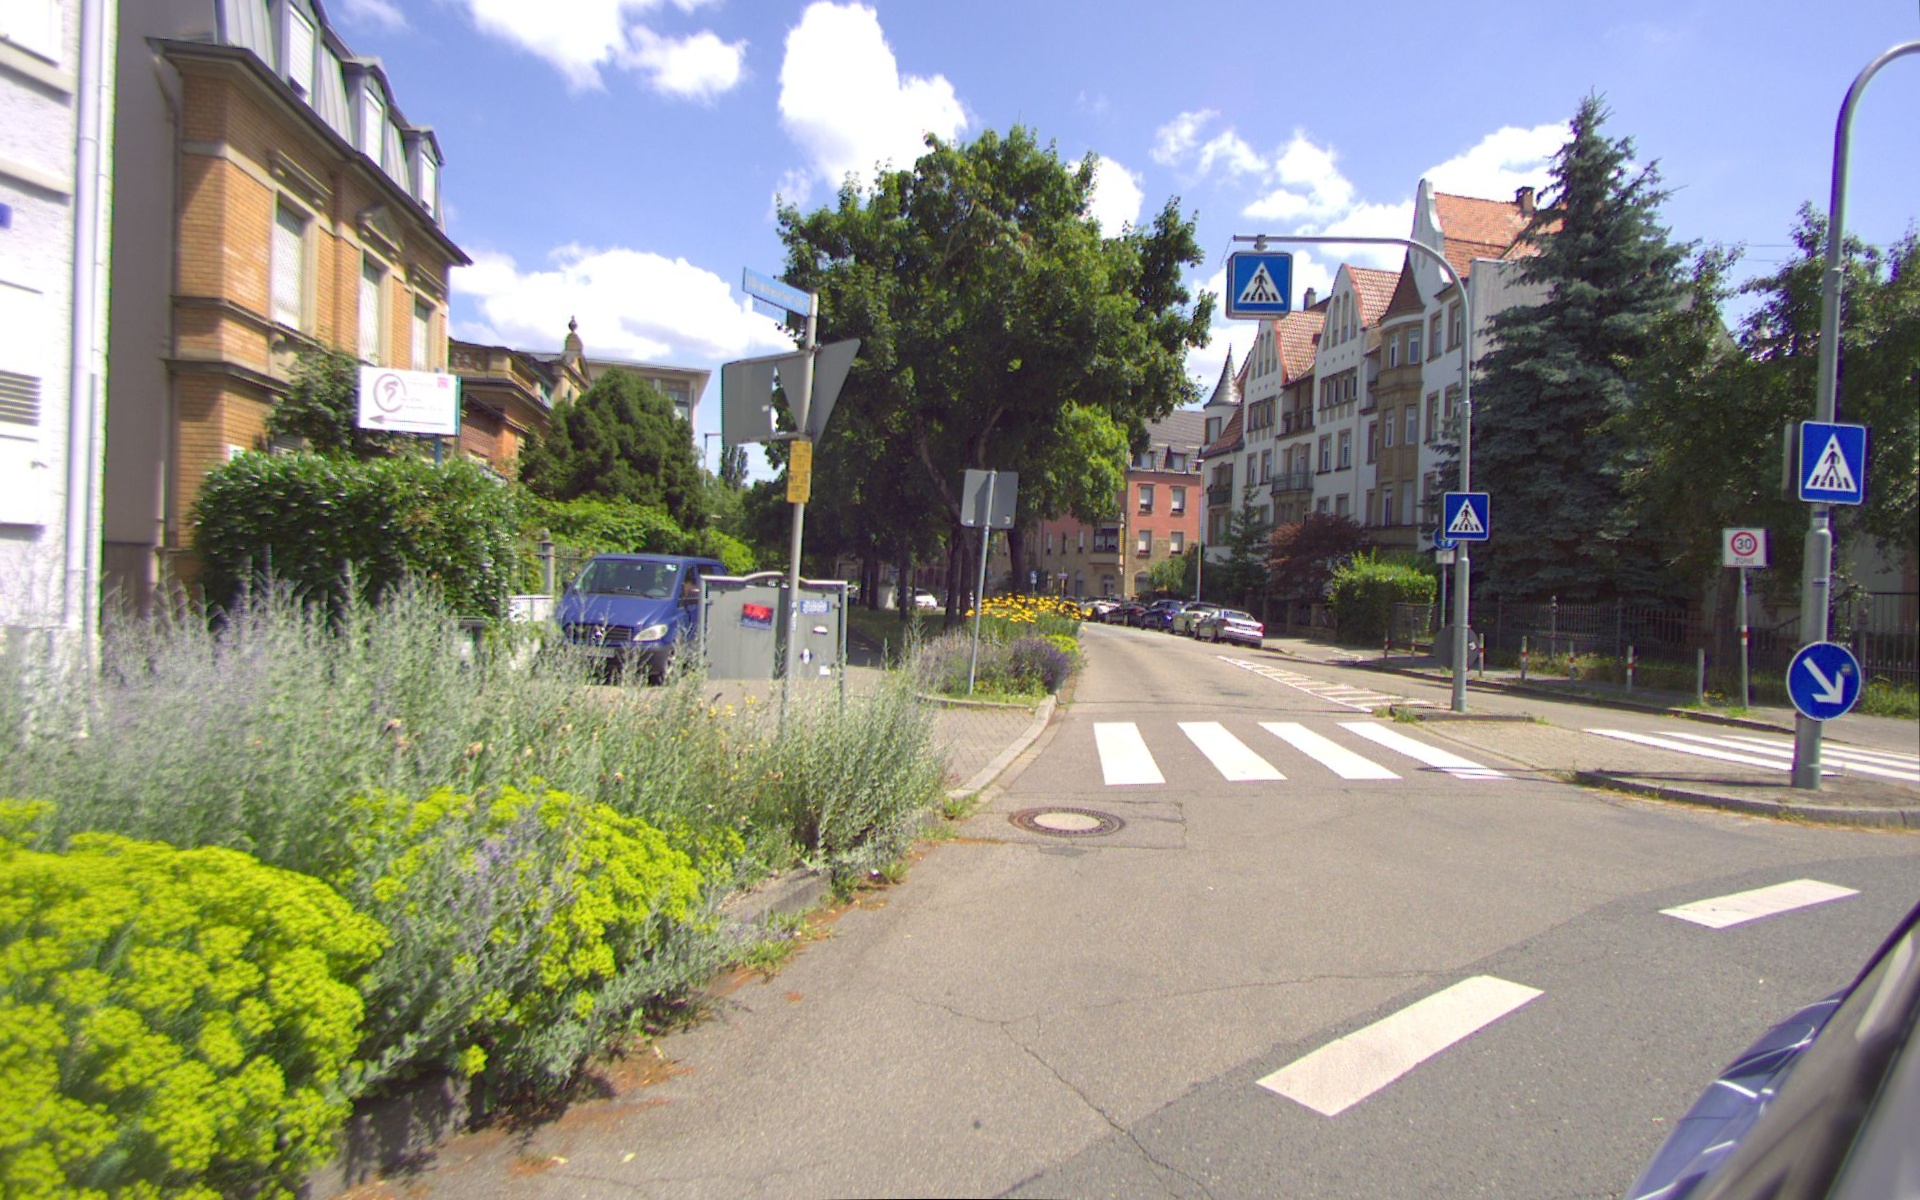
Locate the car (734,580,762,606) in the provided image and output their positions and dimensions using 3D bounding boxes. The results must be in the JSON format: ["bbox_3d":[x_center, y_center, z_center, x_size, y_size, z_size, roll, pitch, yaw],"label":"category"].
[{"bbox_3d":[-15.183,-0.543,72.514,1.801,1.756,4.007,2,0,-10],"label":"car"}]

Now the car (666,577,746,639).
[{"bbox_3d":[-7.070,0.167,28.482,1.802,1.577,4.007,2,1,-9],"label":"car"}]

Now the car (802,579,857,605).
[{"bbox_3d":[-10.331,-0.665,80.391,3.935,1.883,1.920,2,1,9],"label":"car"}]

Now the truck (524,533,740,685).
[{"bbox_3d":[-5.008,0.099,16.342,1.879,1.950,5.284,3,0,-2],"label":"truck"}]

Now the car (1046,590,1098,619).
[{"bbox_3d":[6.921,0.270,62.738,1.737,1.407,3.885,7,1,-15],"label":"car"}]

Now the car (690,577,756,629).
[{"bbox_3d":[-7.764,0.051,33.503,1.802,1.577,4.007,2,1,-9],"label":"car"}]

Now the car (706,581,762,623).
[{"bbox_3d":[-8.600,0.035,38.723,1.802,1.475,4.007,2,1,-9],"label":"car"}]

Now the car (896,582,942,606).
[{"bbox_3d":[-3.146,-0.482,76.926,1.958,1.638,4.193,1,1,-25],"label":"car"}]

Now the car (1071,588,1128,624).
[{"bbox_3d":[7.981,0.320,58.202,1.738,1.633,3.885,7,1,-14],"label":"car"}]

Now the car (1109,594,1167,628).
[{"bbox_3d":[9.222,0.554,52.667,1.739,1.405,4.006,7,1,-7],"label":"car"}]

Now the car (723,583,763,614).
[{"bbox_3d":[-10.881,-0.089,50.976,1.801,1.455,4.007,2,0,-10],"label":"car"}]

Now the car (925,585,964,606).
[{"bbox_3d":[-1.361,-0.399,87.734,1.958,1.638,4.194,1,1,-21],"label":"car"}]

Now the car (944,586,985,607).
[{"bbox_3d":[0.364,-0.302,83.383,1.958,1.638,4.194,1,1,-21],"label":"car"}]

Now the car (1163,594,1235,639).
[{"bbox_3d":[9.895,0.627,42.136,1.741,1.534,4.002,7,1,-2],"label":"car"}]

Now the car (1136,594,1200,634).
[{"bbox_3d":[9.641,0.605,47.198,1.740,1.534,4.004,7,1,-5],"label":"car"}]

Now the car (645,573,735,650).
[{"bbox_3d":[-6.124,0.219,23.272,1.679,1.545,3.861,3,0,-11],"label":"car"}]

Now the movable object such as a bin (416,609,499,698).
[{"bbox_3d":[-5.895,0.609,11.890,0.612,0.973,0.627,2,1,30],"label":"movable object such as a bin"}]

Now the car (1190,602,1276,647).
[{"bbox_3d":[9.880,0.862,36.969,1.784,1.343,4.001,6,-1,-2],"label":"car"}]
